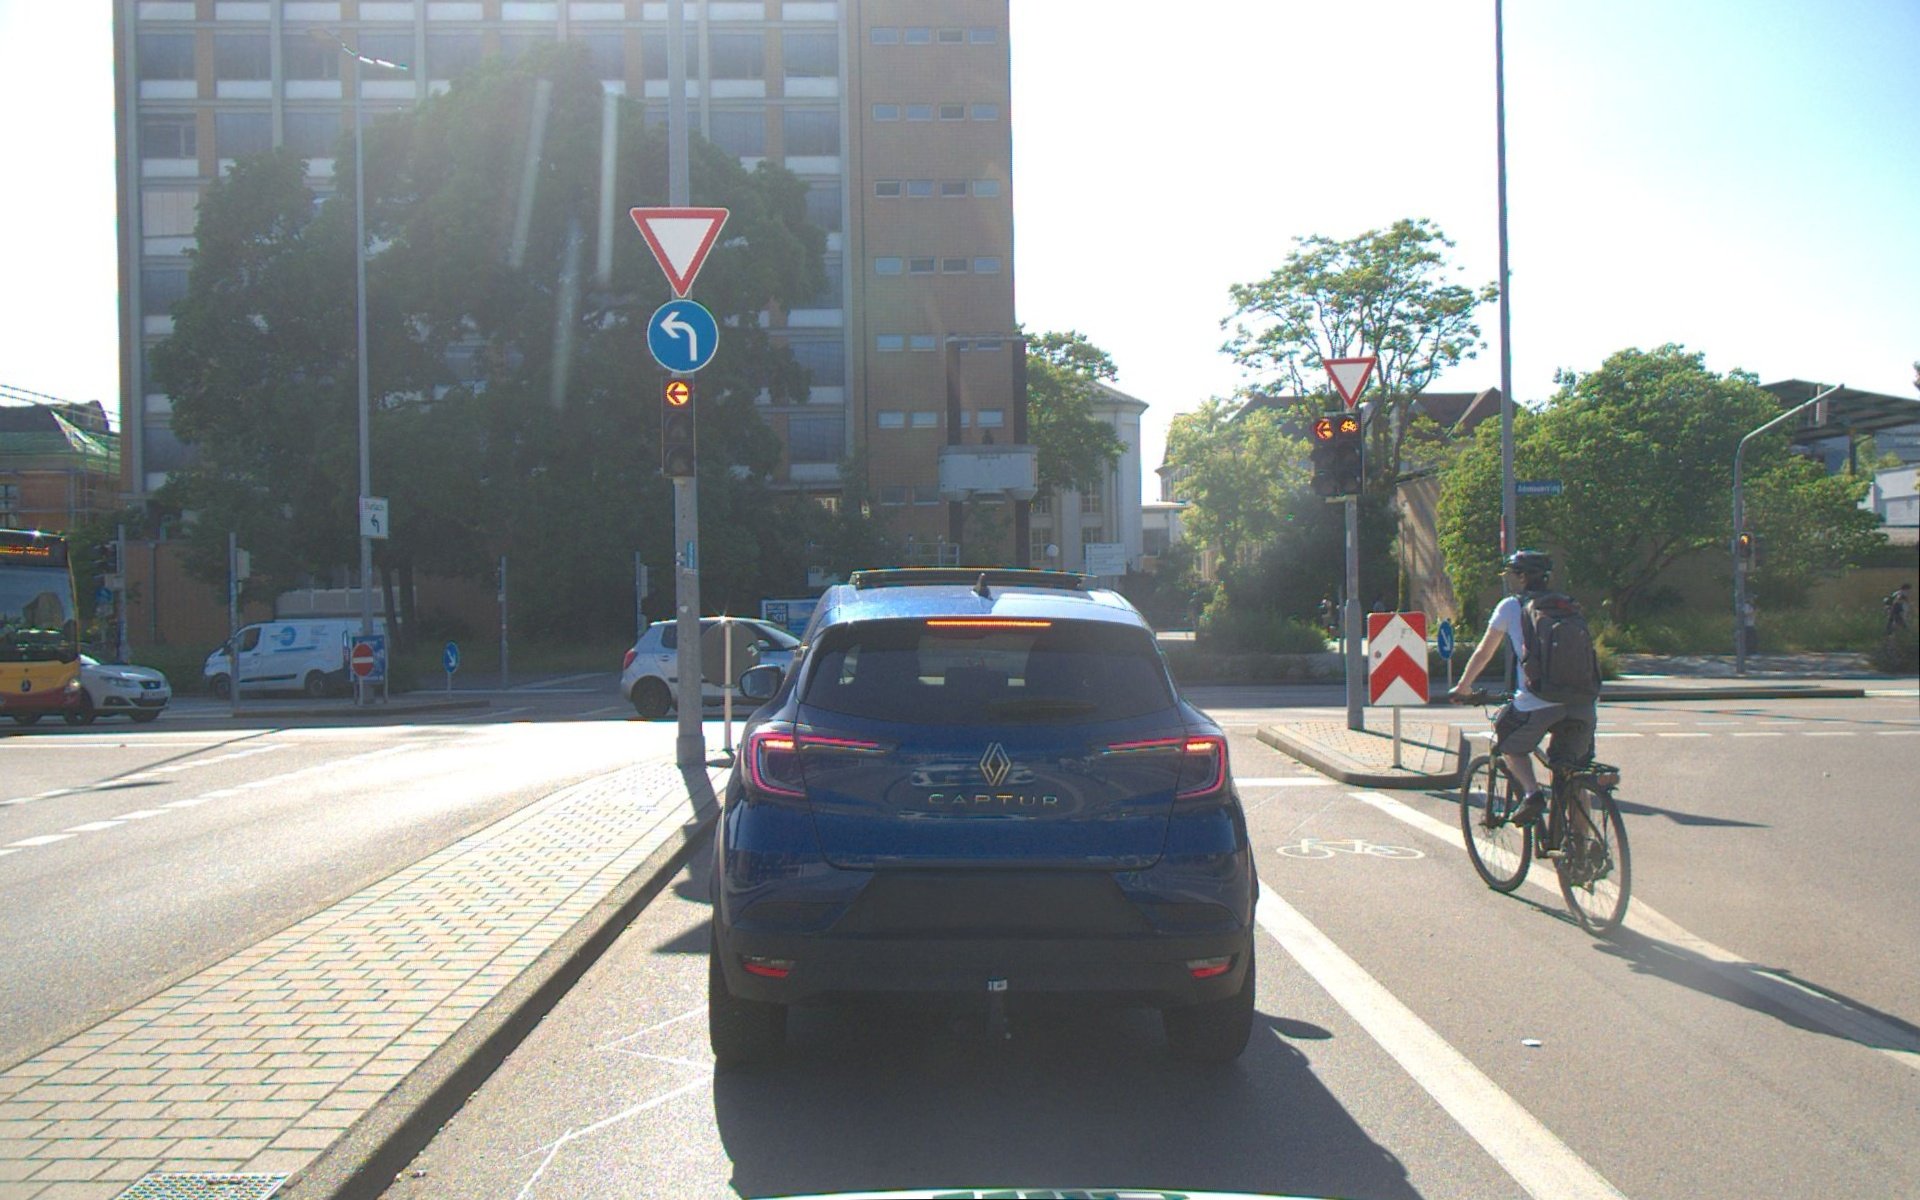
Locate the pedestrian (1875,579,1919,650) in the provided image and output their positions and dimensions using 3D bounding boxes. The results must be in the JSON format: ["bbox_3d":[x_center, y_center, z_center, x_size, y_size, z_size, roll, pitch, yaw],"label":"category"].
[{"bbox_3d":[24.061,0.361,42.203,0.942,1.763,0.926,-1,0,6],"label":"pedestrian"}]

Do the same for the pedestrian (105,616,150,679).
[{"bbox_3d":[-27.351,1.549,54.371,0.807,2.049,1.014,-1,0,26],"label":"pedestrian"}]

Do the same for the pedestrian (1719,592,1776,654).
[{"bbox_3d":[20.087,0.577,42.231,1.062,1.547,0.931,-1,0,9],"label":"pedestrian"}]

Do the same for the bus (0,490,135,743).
[{"bbox_3d":[-19.393,0.344,26.299,12.159,3.633,3.252,-1,0,16],"label":"bus"}]

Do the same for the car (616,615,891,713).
[{"bbox_3d":[-3.141,0.987,25.492,3.762,1.428,1.893,0,-3,13],"label":"car"}]

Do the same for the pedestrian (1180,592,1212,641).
[{"bbox_3d":[10.036,0.713,70.368,1.132,2.049,1.164,-1,0,-1],"label":"pedestrian"}]

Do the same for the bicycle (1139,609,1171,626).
[{"bbox_3d":[11.195,0.985,94.993,1.735,0.914,0.765,-1,0,-1],"label":"bicycle"}]

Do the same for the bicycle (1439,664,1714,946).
[{"bbox_3d":[2.953,0.927,8.125,0.602,1.158,1.825,0,0,-2],"label":"bicycle"}]

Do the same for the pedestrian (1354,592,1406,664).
[{"bbox_3d":[11.367,0.754,44.771,1.269,1.888,0.967,-1,0,11],"label":"pedestrian"}]

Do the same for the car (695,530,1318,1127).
[{"bbox_3d":[0.082,0.645,6.631,1.758,1.684,3.852,1,0,-2],"label":"car"}]

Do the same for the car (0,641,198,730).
[{"bbox_3d":[-15.272,1.441,28.184,3.902,1.397,1.761,-1,0,14],"label":"car"}]

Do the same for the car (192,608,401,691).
[{"bbox_3d":[-17.355,1.283,43.299,4.894,2.049,2.073,-1,0,18],"label":"car"}]

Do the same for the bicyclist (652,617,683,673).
[{"bbox_3d":[-7.692,1.193,43.532,0.623,1.437,0.649,-2,-2,4],"label":"bicyclist"}]

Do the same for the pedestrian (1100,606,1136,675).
[{"bbox_3d":[4.351,1.108,45.518,0.912,1.888,0.808,-1,0,8],"label":"pedestrian"}]

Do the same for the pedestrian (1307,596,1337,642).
[{"bbox_3d":[14.273,0.733,65.302,0.933,1.772,0.984,-1,0,-1],"label":"pedestrian"}]

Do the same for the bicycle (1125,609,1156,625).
[{"bbox_3d":[10.848,1.016,99.351,1.735,0.908,0.765,-1,0,-1],"label":"bicycle"}]

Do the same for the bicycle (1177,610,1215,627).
[{"bbox_3d":[11.852,0.933,83.202,1.739,0.837,0.763,-1,0,-11],"label":"bicycle"}]

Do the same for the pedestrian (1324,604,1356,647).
[{"bbox_3d":[14.850,0.992,64.660,0.917,1.641,1.175,-1,0,-1],"label":"pedestrian"}]

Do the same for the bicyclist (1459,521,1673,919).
[{"bbox_3d":[2.923,0.555,8.052,0.663,1.816,0.939,1,-1,-2],"label":"bicyclist"}]

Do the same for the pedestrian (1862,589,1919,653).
[{"bbox_3d":[23.239,0.521,41.186,1.052,1.547,0.879,-1,0,4],"label":"pedestrian"}]
